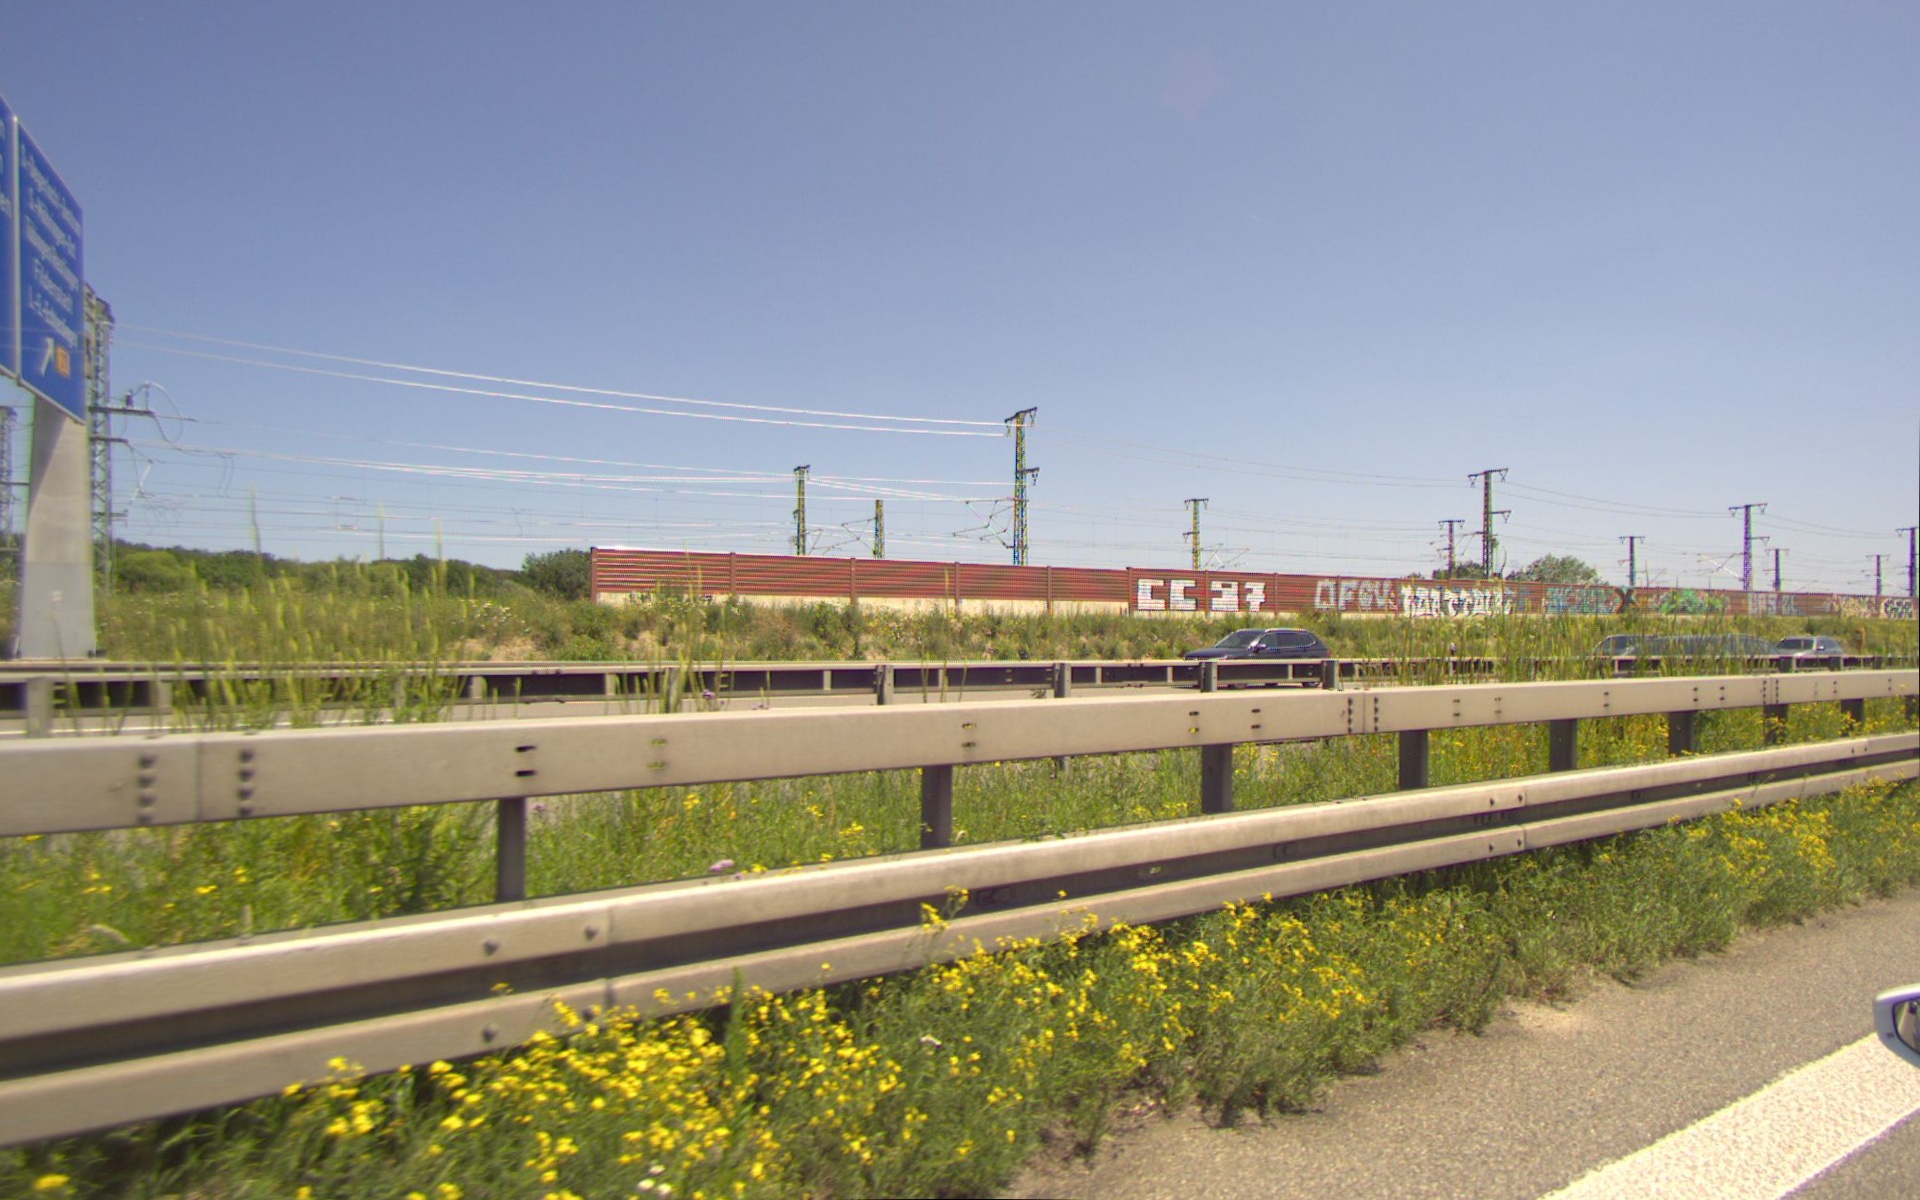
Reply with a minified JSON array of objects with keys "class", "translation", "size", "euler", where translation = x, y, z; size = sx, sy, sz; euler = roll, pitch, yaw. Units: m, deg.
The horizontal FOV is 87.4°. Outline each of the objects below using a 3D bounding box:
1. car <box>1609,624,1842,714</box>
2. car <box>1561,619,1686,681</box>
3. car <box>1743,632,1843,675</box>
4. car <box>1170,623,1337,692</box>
[{"class":"car","translation":[13.620,1.151,17.826],"size":[4.221,1.413,1.858],"euler":[1,-1,-31]},{"class":"car","translation":[23.629,1.766,35.761],"size":[4.259,2.040,1.984],"euler":[2,0,-30]},{"class":"car","translation":[36.544,2.301,44.070],"size":[4.460,1.749,1.984],"euler":[1,0,-30]},{"class":"car","translation":[8.272,1.555,28.235],"size":[4.459,1.749,1.984],"euler":[1,0,-30]}]
